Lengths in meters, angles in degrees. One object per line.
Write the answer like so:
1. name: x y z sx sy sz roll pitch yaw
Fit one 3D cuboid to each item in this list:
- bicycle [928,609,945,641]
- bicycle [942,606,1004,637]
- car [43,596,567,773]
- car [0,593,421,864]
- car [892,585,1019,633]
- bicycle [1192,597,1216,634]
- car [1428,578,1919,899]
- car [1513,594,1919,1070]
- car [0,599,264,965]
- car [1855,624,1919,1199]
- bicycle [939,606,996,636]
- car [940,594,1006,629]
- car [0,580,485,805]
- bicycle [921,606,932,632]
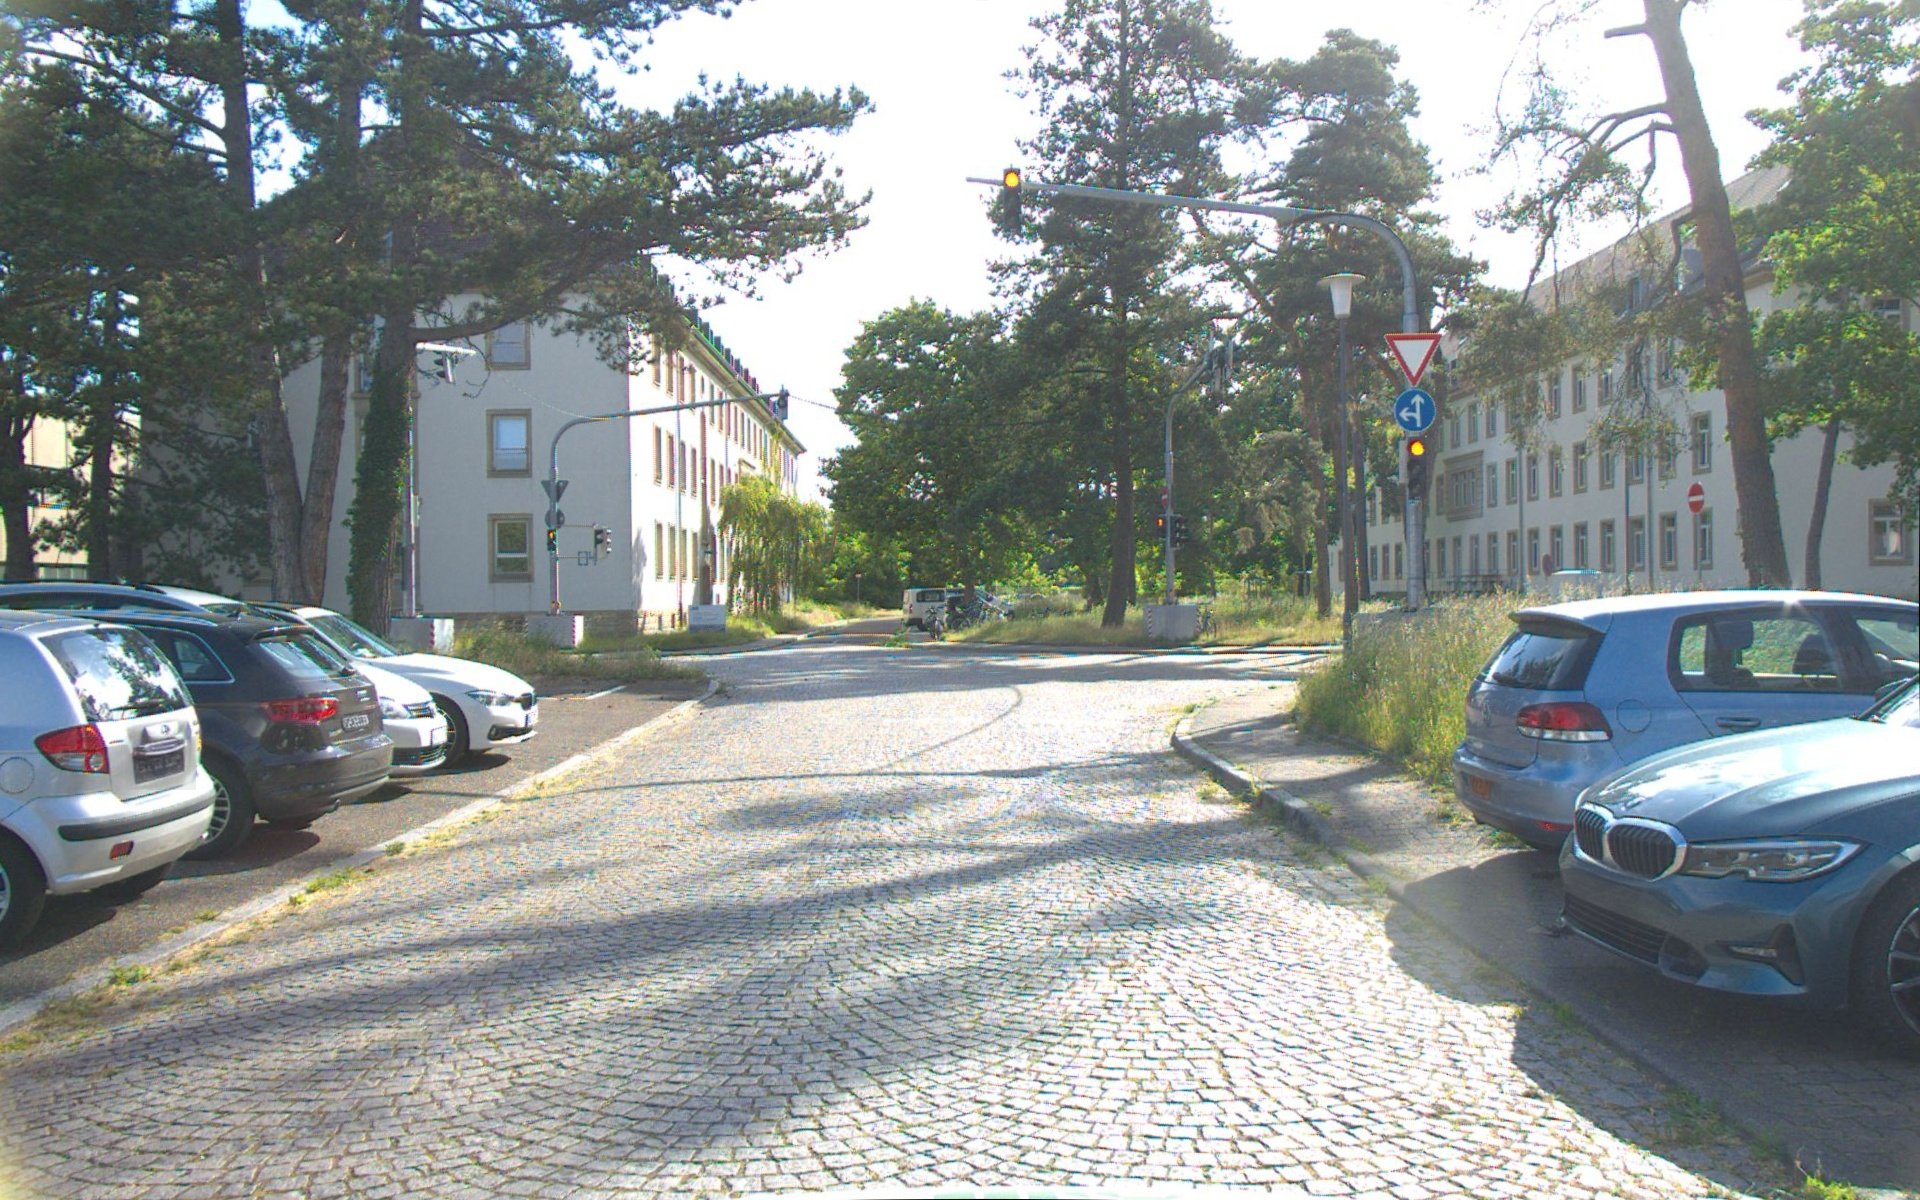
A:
1. bicycle: -0.777 0.813 54.123 0.458 1.028 1.584 1 -1 -4
2. bicycle: 0.444 0.748 57.727 2.070 1.028 0.620 1 -1 -9
3. car: -6.082 0.766 15.782 4.248 1.494 1.829 1 0 -4
4. car: -5.647 0.737 10.436 3.908 1.506 1.802 1 0 -4
5. car: -0.210 0.431 75.691 5.438 2.049 1.989 1 -1 -19
6. bicycle: 6.751 0.426 45.736 0.294 0.977 1.584 1 -1 -4
7. car: 4.667 0.642 8.875 3.803 1.440 1.636 -2 1 0
8. car: 4.578 0.682 6.147 4.467 1.440 1.636 -2 1 0
9. car: -5.458 0.750 7.749 3.672 1.513 1.644 1 0 -4
10. car: 4.547 0.706 3.479 4.342 1.440 1.781 -2 1 0
11. bicycle: 0.256 0.756 59.437 1.967 1.028 0.631 1 -1 -9
12. car: 0.555 0.502 72.204 2.728 1.492 1.669 1 -1 -5
13. car: -6.113 0.693 13.389 3.999 1.621 1.884 1 0 -4
14. bicycle: -1.349 0.773 67.351 0.409 1.028 1.483 1 -1 0
